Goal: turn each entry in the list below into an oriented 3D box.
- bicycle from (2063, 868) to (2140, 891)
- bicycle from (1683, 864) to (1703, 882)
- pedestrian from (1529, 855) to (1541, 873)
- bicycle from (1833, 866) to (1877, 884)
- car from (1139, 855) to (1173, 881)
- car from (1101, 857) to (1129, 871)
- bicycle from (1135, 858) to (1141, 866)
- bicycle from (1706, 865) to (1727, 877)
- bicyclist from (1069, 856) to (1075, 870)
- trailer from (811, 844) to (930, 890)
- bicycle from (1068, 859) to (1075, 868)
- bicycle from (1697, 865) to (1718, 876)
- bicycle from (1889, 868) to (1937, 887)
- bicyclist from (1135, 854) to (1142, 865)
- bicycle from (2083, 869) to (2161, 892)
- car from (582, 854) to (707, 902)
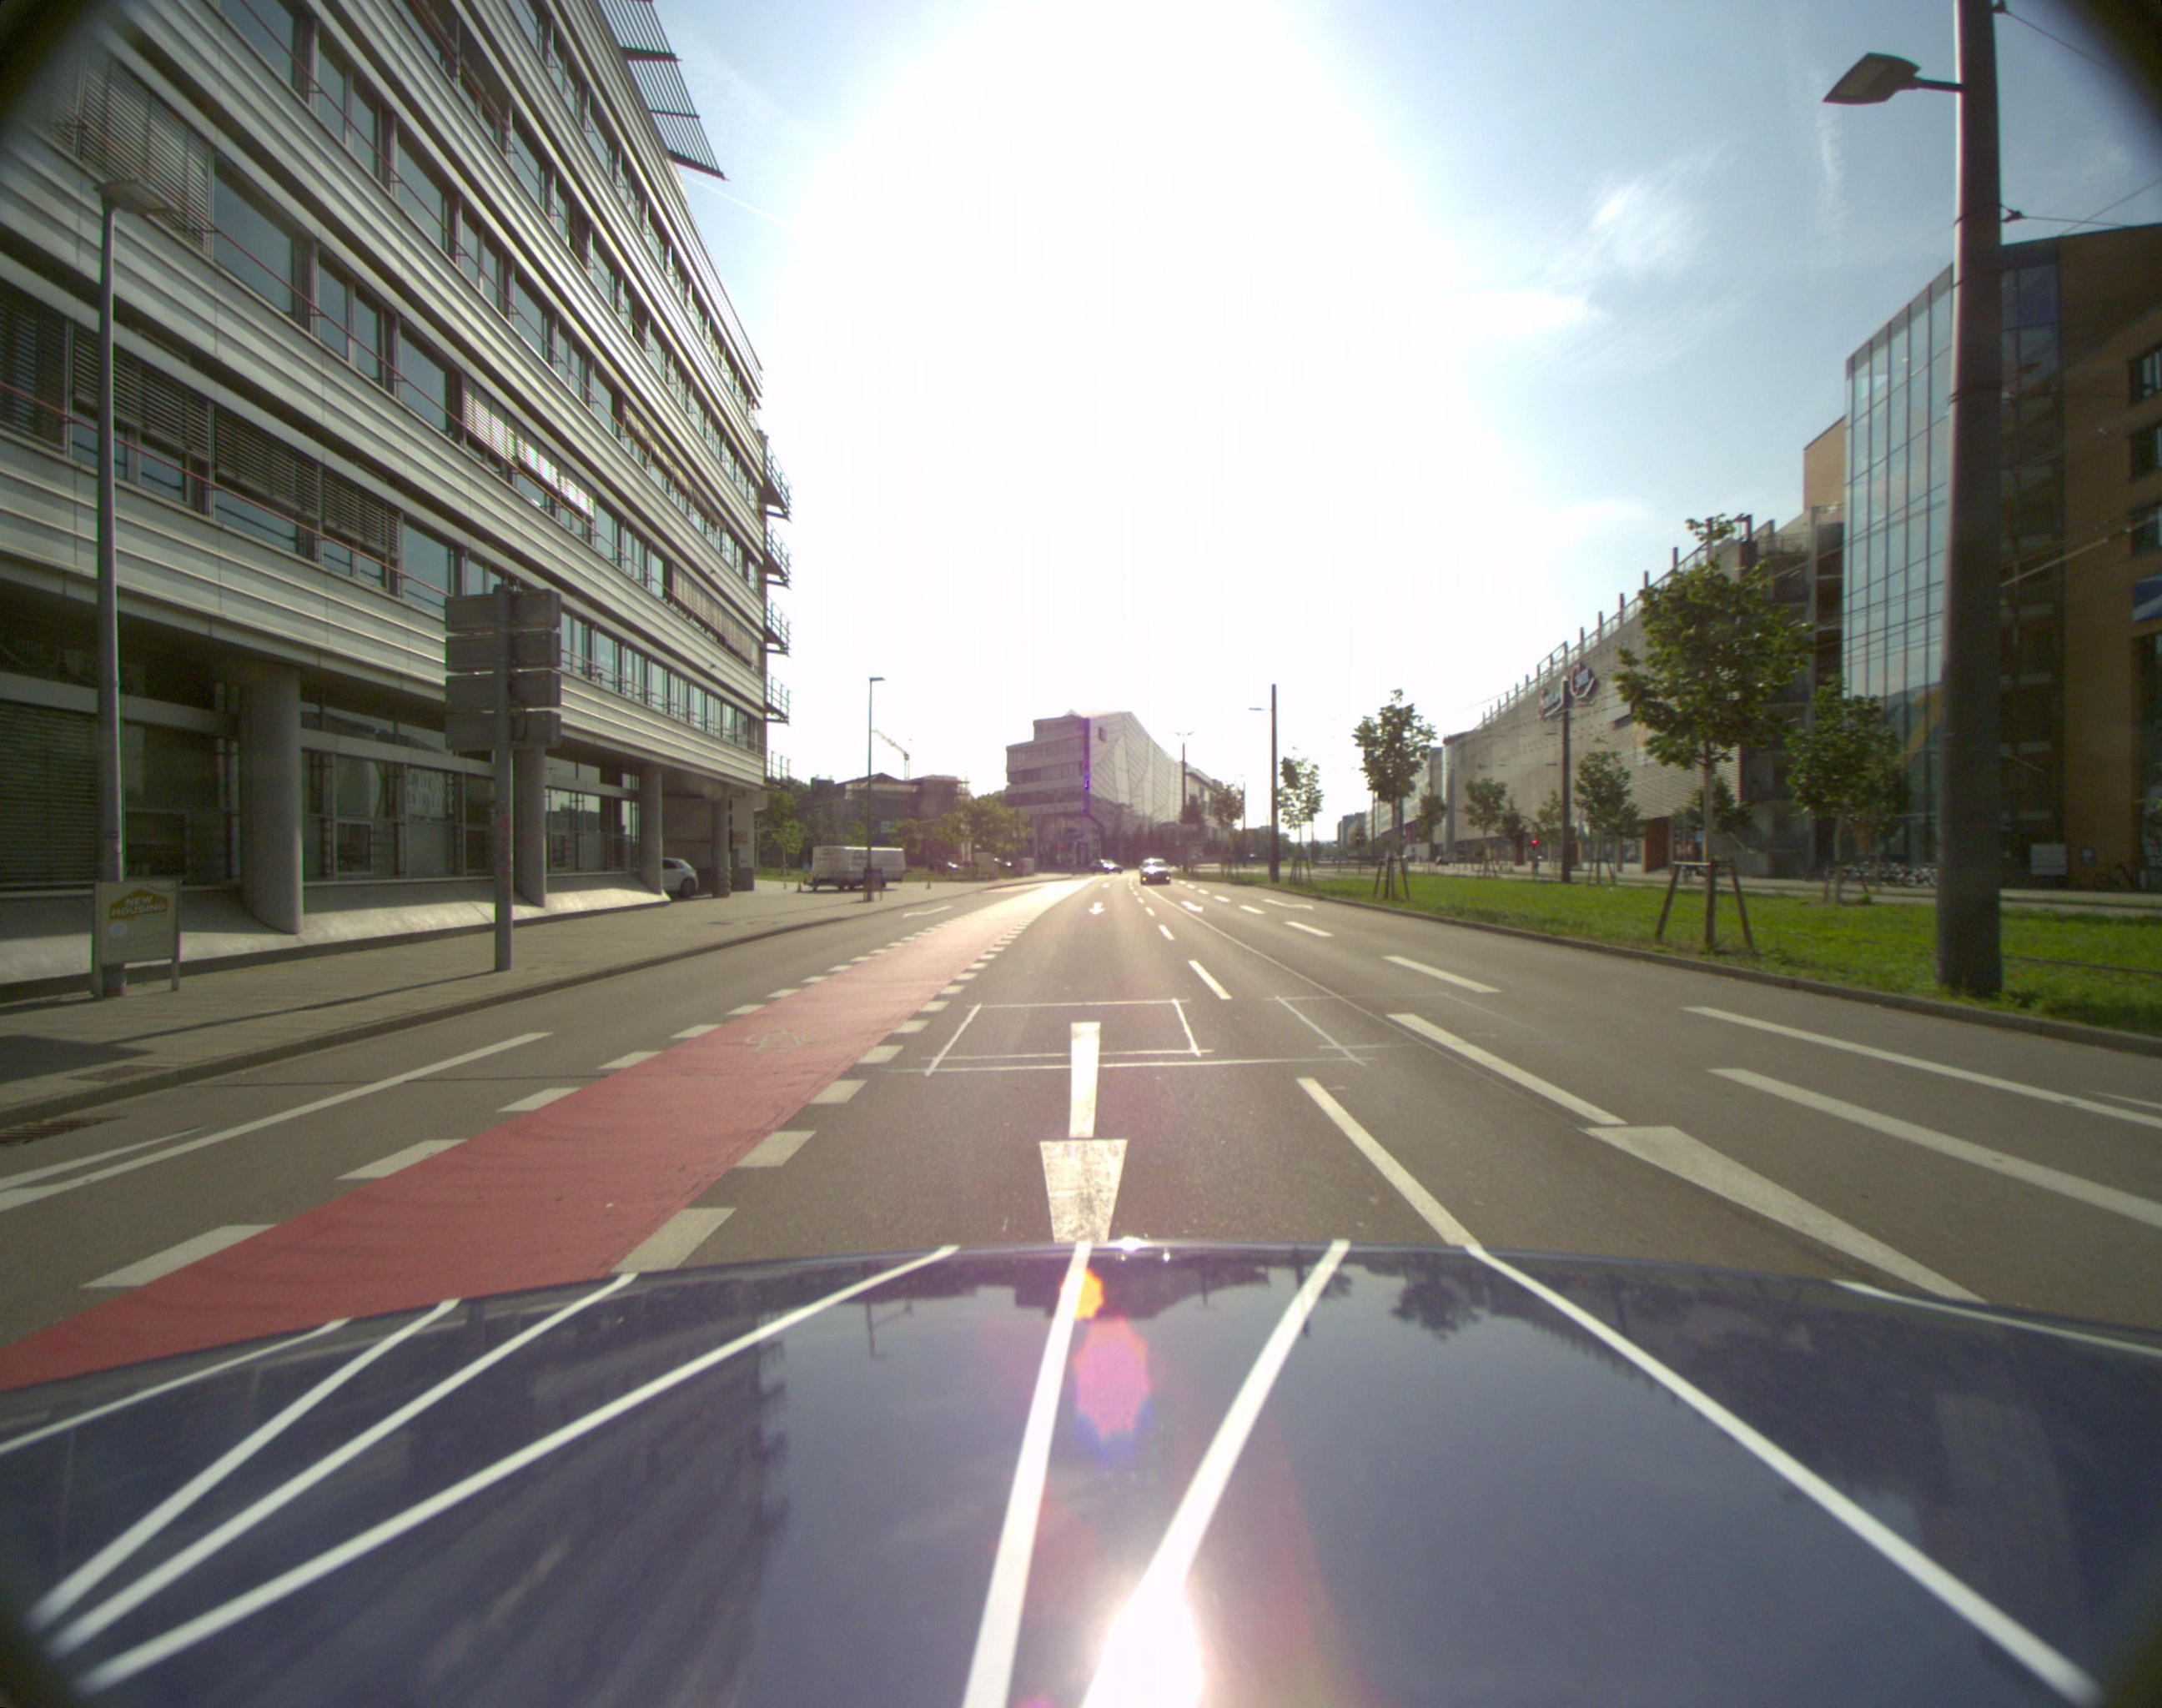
[{"bbox_3d":[42.100,1.032,31.358,2.051,0.916,0.574,0,0,11],"label":"bicycle"},{"bbox_3d":[37.121,1.168,46.110,0.444,0.982,2.167,1,2,25],"label":"bicycle"},{"bbox_3d":[39.791,0.877,66.550,0.762,1.570,0.590,0,1,12],"label":"pedestrian"},{"bbox_3d":[40.868,1.109,40.128,1.581,0.935,0.473,0,1,15],"label":"bicycle"},{"bbox_3d":[4.349,0.773,44.434,1.643,1.411,3.895,0,0,0],"label":"car"},{"bbox_3d":[3.461,1.029,78.375,1.590,1.335,3.158,0,0,-26],"label":"car"},{"bbox_3d":[8.537,1.189,113.920,0.418,1.050,1.962,1,2,23],"label":"bicycle"},{"bbox_3d":[42.455,1.127,50.783,1.022,0.747,0.361,0,0,18],"label":"bicycle"},{"bbox_3d":[-1.115,1.141,92.645,0.669,1.693,0.637,0,2,6],"label":"bicyclist"},{"bbox_3d":[-10.525,0.631,38.574,2.390,2.138,5.960,0,0,27],"label":"trailer"},{"bbox_3d":[-1.124,1.144,92.549,0.669,1.092,1.805,0,2,6],"label":"bicycle"},{"bbox_3d":[42.815,1.119,51.920,1.004,0.747,0.453,0,0,18],"label":"bicycle"},{"bbox_3d":[40.229,1.130,36.740,1.581,0.935,0.411,0,1,15],"label":"bicycle"},{"bbox_3d":[8.555,0.868,113.886,0.781,1.577,0.933,1,2,22],"label":"bicyclist"},{"bbox_3d":[41.985,1.052,30.630,2.051,0.916,0.574,0,0,11],"label":"bicycle"},{"bbox_3d":[-15.645,0.841,27.497,1.747,1.580,4.004,0,-1,11],"label":"car"}]
